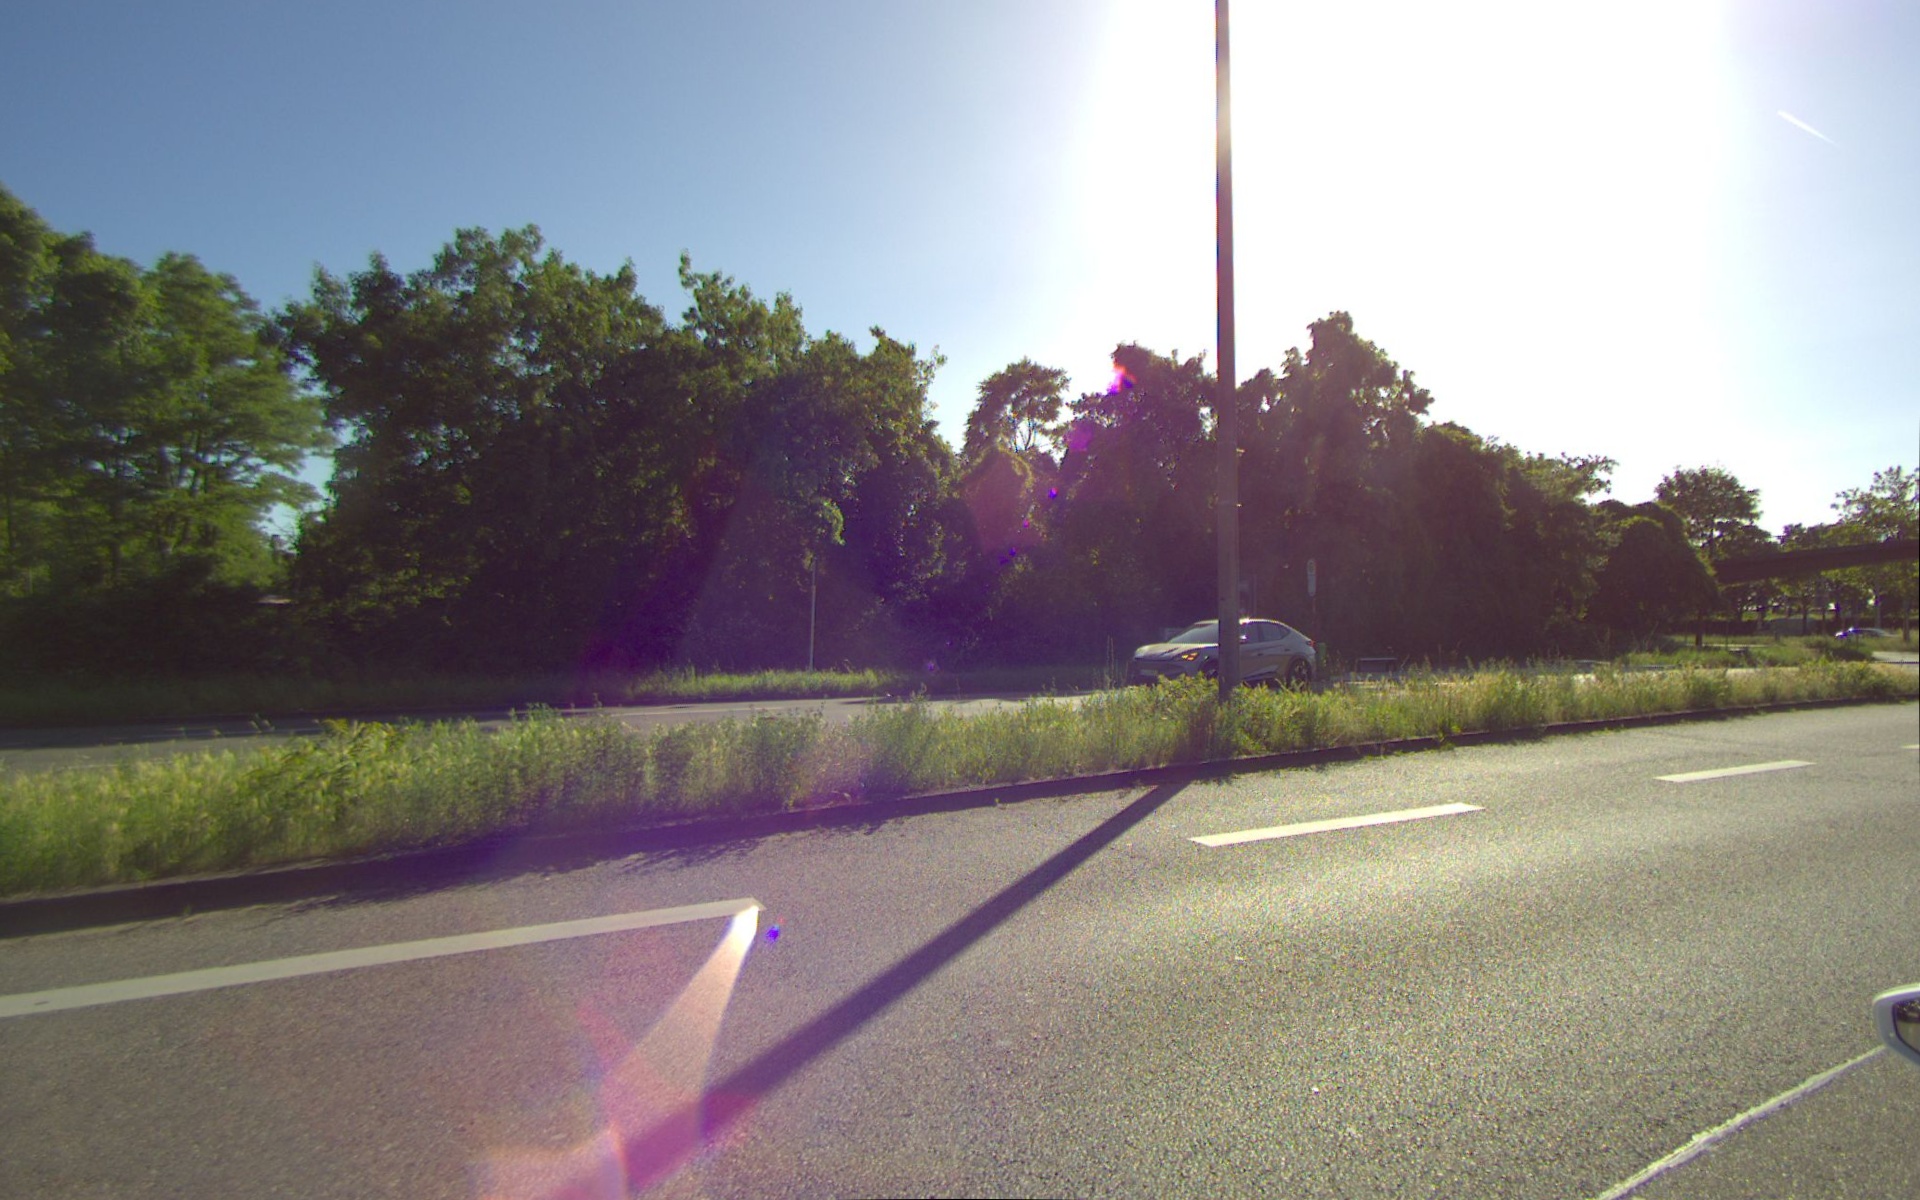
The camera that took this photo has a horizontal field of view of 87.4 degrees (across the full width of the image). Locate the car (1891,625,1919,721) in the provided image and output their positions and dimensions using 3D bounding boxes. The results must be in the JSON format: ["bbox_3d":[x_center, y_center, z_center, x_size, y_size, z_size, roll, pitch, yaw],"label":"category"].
[{"bbox_3d":[17.403,1.189,16.428,4.862,1.502,1.949,2,-2,-31],"label":"car"}]

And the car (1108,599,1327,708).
[{"bbox_3d":[5.431,1.070,20.965,4.537,2.040,1.980,2,-1,-35],"label":"car"}]

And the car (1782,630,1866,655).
[{"bbox_3d":[62.149,3.049,72.329,1.965,1.672,4.312,1,-1,-11],"label":"car"}]

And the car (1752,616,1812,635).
[{"bbox_3d":[90.178,2.803,110.249,1.975,2.040,4.766,2,-1,-28],"label":"car"}]
